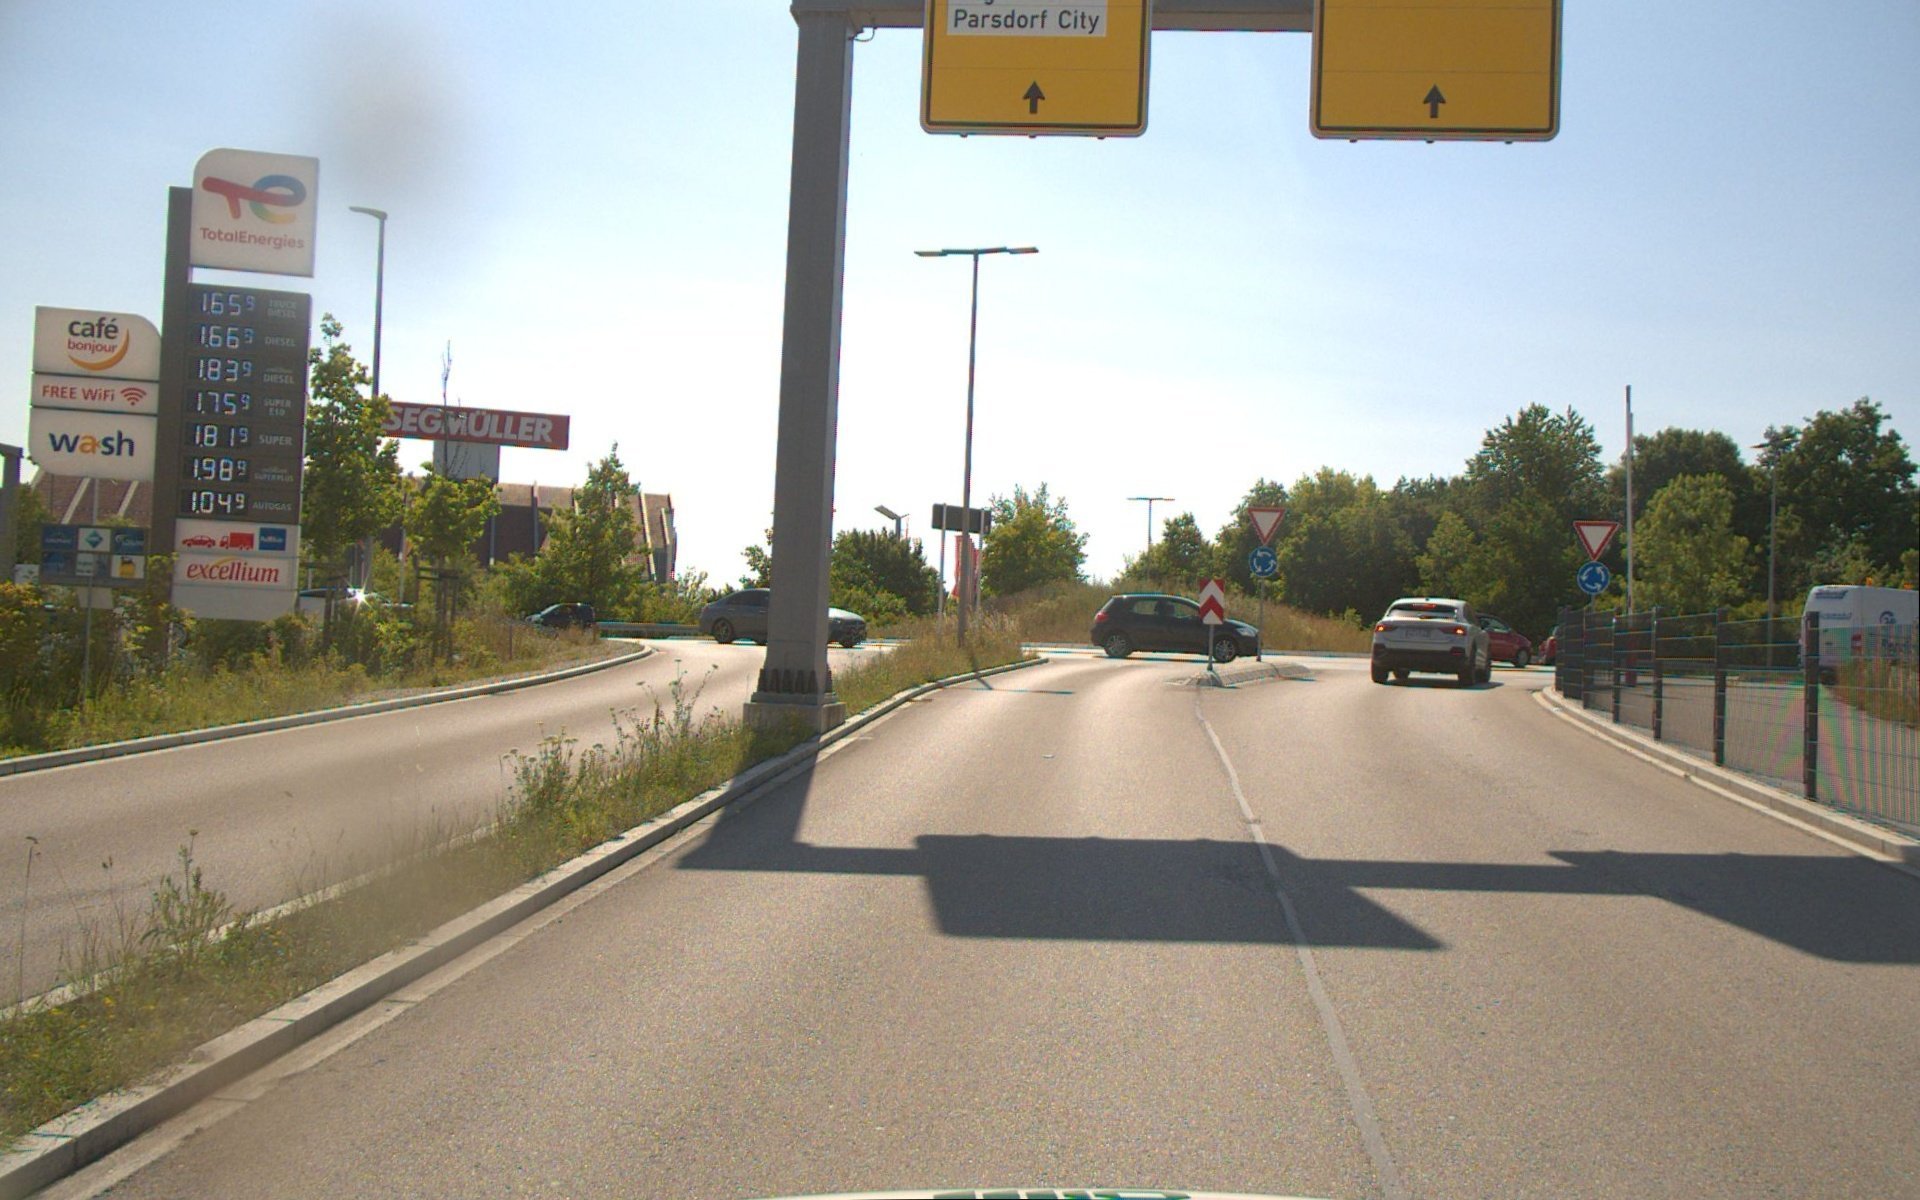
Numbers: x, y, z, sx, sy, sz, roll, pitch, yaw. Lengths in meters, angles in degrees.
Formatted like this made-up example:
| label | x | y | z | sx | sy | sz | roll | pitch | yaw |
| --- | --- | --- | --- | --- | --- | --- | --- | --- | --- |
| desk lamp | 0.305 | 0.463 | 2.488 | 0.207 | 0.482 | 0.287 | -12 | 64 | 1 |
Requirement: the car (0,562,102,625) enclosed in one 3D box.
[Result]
| label | x | y | z | sx | sy | sz | roll | pitch | yaw |
| --- | --- | --- | --- | --- | --- | --- | --- | --- | --- |
| car | -37.394 | -0.321 | 64.955 | 6.130 | 2.273 | 2.038 | 3 | -1 | -3 |

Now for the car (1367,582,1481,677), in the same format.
| label | x | y | z | sx | sy | sz | roll | pitch | yaw |
| --- | --- | --- | --- | --- | --- | --- | --- | --- | --- |
| car | 8.896 | 0.547 | 31.472 | 1.803 | 1.624 | 4.326 | 2 | 0 | 19 |

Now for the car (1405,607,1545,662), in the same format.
| label | x | y | z | sx | sy | sz | roll | pitch | yaw |
| --- | --- | --- | --- | --- | --- | --- | --- | --- | --- |
| car | 14.964 | 1.003 | 48.047 | 3.757 | 1.429 | 1.613 | 3 | -1 | -26 |

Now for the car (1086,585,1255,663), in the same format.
| label | x | y | z | sx | sy | sz | roll | pitch | yaw |
| --- | --- | --- | --- | --- | --- | --- | --- | --- | --- |
| car | 5.104 | 0.567 | 39.918 | 3.865 | 1.646 | 1.820 | 3 | 0 | 12 |

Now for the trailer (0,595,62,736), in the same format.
| label | x | y | z | sx | sy | sz | roll | pitch | yaw |
| --- | --- | --- | --- | --- | --- | --- | --- | --- | --- |
| trailer | -11.994 | 0.655 | 18.441 | 3.129 | 1.509 | 1.542 | 3 | -1 | -16 |

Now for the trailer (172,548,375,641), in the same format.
| label | x | y | z | sx | sy | sz | roll | pitch | yaw |
| --- | --- | --- | --- | --- | --- | --- | --- | --- | --- |
| trailer | -13.963 | -0.101 | 33.654 | 3.644 | 1.803 | 1.790 | 1 | 0 | -29 |

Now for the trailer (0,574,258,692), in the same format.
| label | x | y | z | sx | sy | sz | roll | pitch | yaw |
| --- | --- | --- | --- | --- | --- | --- | --- | --- | --- |
| trailer | -12.932 | 0.507 | 25.488 | 3.644 | 1.476 | 1.692 | 6 | -2 | -29 |

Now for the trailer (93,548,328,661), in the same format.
| label | x | y | z | sx | sy | sz | roll | pitch | yaw |
| --- | --- | --- | --- | --- | --- | --- | --- | --- | --- |
| trailer | -13.370 | 0.084 | 29.516 | 3.644 | 1.803 | 1.790 | 3 | -1 | -29 |

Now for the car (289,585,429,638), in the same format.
| label | x | y | z | sx | sy | sz | roll | pitch | yaw |
| --- | --- | --- | --- | --- | --- | --- | --- | --- | --- |
| car | -18.308 | 0.343 | 50.322 | 4.245 | 1.375 | 1.570 | 3 | 0 | 29 |

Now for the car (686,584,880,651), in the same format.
| label | x | y | z | sx | sy | sz | roll | pitch | yaw |
| --- | --- | --- | --- | --- | --- | --- | --- | --- | --- |
| car | -4.613 | 0.448 | 42.785 | 4.772 | 1.477 | 1.994 | 3 | 0 | 33 |

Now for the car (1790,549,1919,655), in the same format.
| label | x | y | z | sx | sy | sz | roll | pitch | yaw |
| --- | --- | --- | --- | --- | --- | --- | --- | --- | --- |
| car | 25.230 | 0.156 | 43.812 | 6.077 | 2.599 | 2.080 | 3 | -1 | -18 |

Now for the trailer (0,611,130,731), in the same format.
| label | x | y | z | sx | sy | sz | roll | pitch | yaw |
| --- | --- | --- | --- | --- | --- | --- | --- | --- | --- |
| trailer | -11.935 | 0.819 | 20.207 | 2.850 | 1.345 | 1.386 | 3 | 0 | -11 |

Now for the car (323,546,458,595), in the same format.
| label | x | y | z | sx | sy | sz | roll | pitch | yaw |
| --- | --- | --- | --- | --- | --- | --- | --- | --- | --- |
| car | -20.514 | -1.035 | 59.659 | 4.245 | 1.557 | 1.767 | 3 | -1 | -39 |
